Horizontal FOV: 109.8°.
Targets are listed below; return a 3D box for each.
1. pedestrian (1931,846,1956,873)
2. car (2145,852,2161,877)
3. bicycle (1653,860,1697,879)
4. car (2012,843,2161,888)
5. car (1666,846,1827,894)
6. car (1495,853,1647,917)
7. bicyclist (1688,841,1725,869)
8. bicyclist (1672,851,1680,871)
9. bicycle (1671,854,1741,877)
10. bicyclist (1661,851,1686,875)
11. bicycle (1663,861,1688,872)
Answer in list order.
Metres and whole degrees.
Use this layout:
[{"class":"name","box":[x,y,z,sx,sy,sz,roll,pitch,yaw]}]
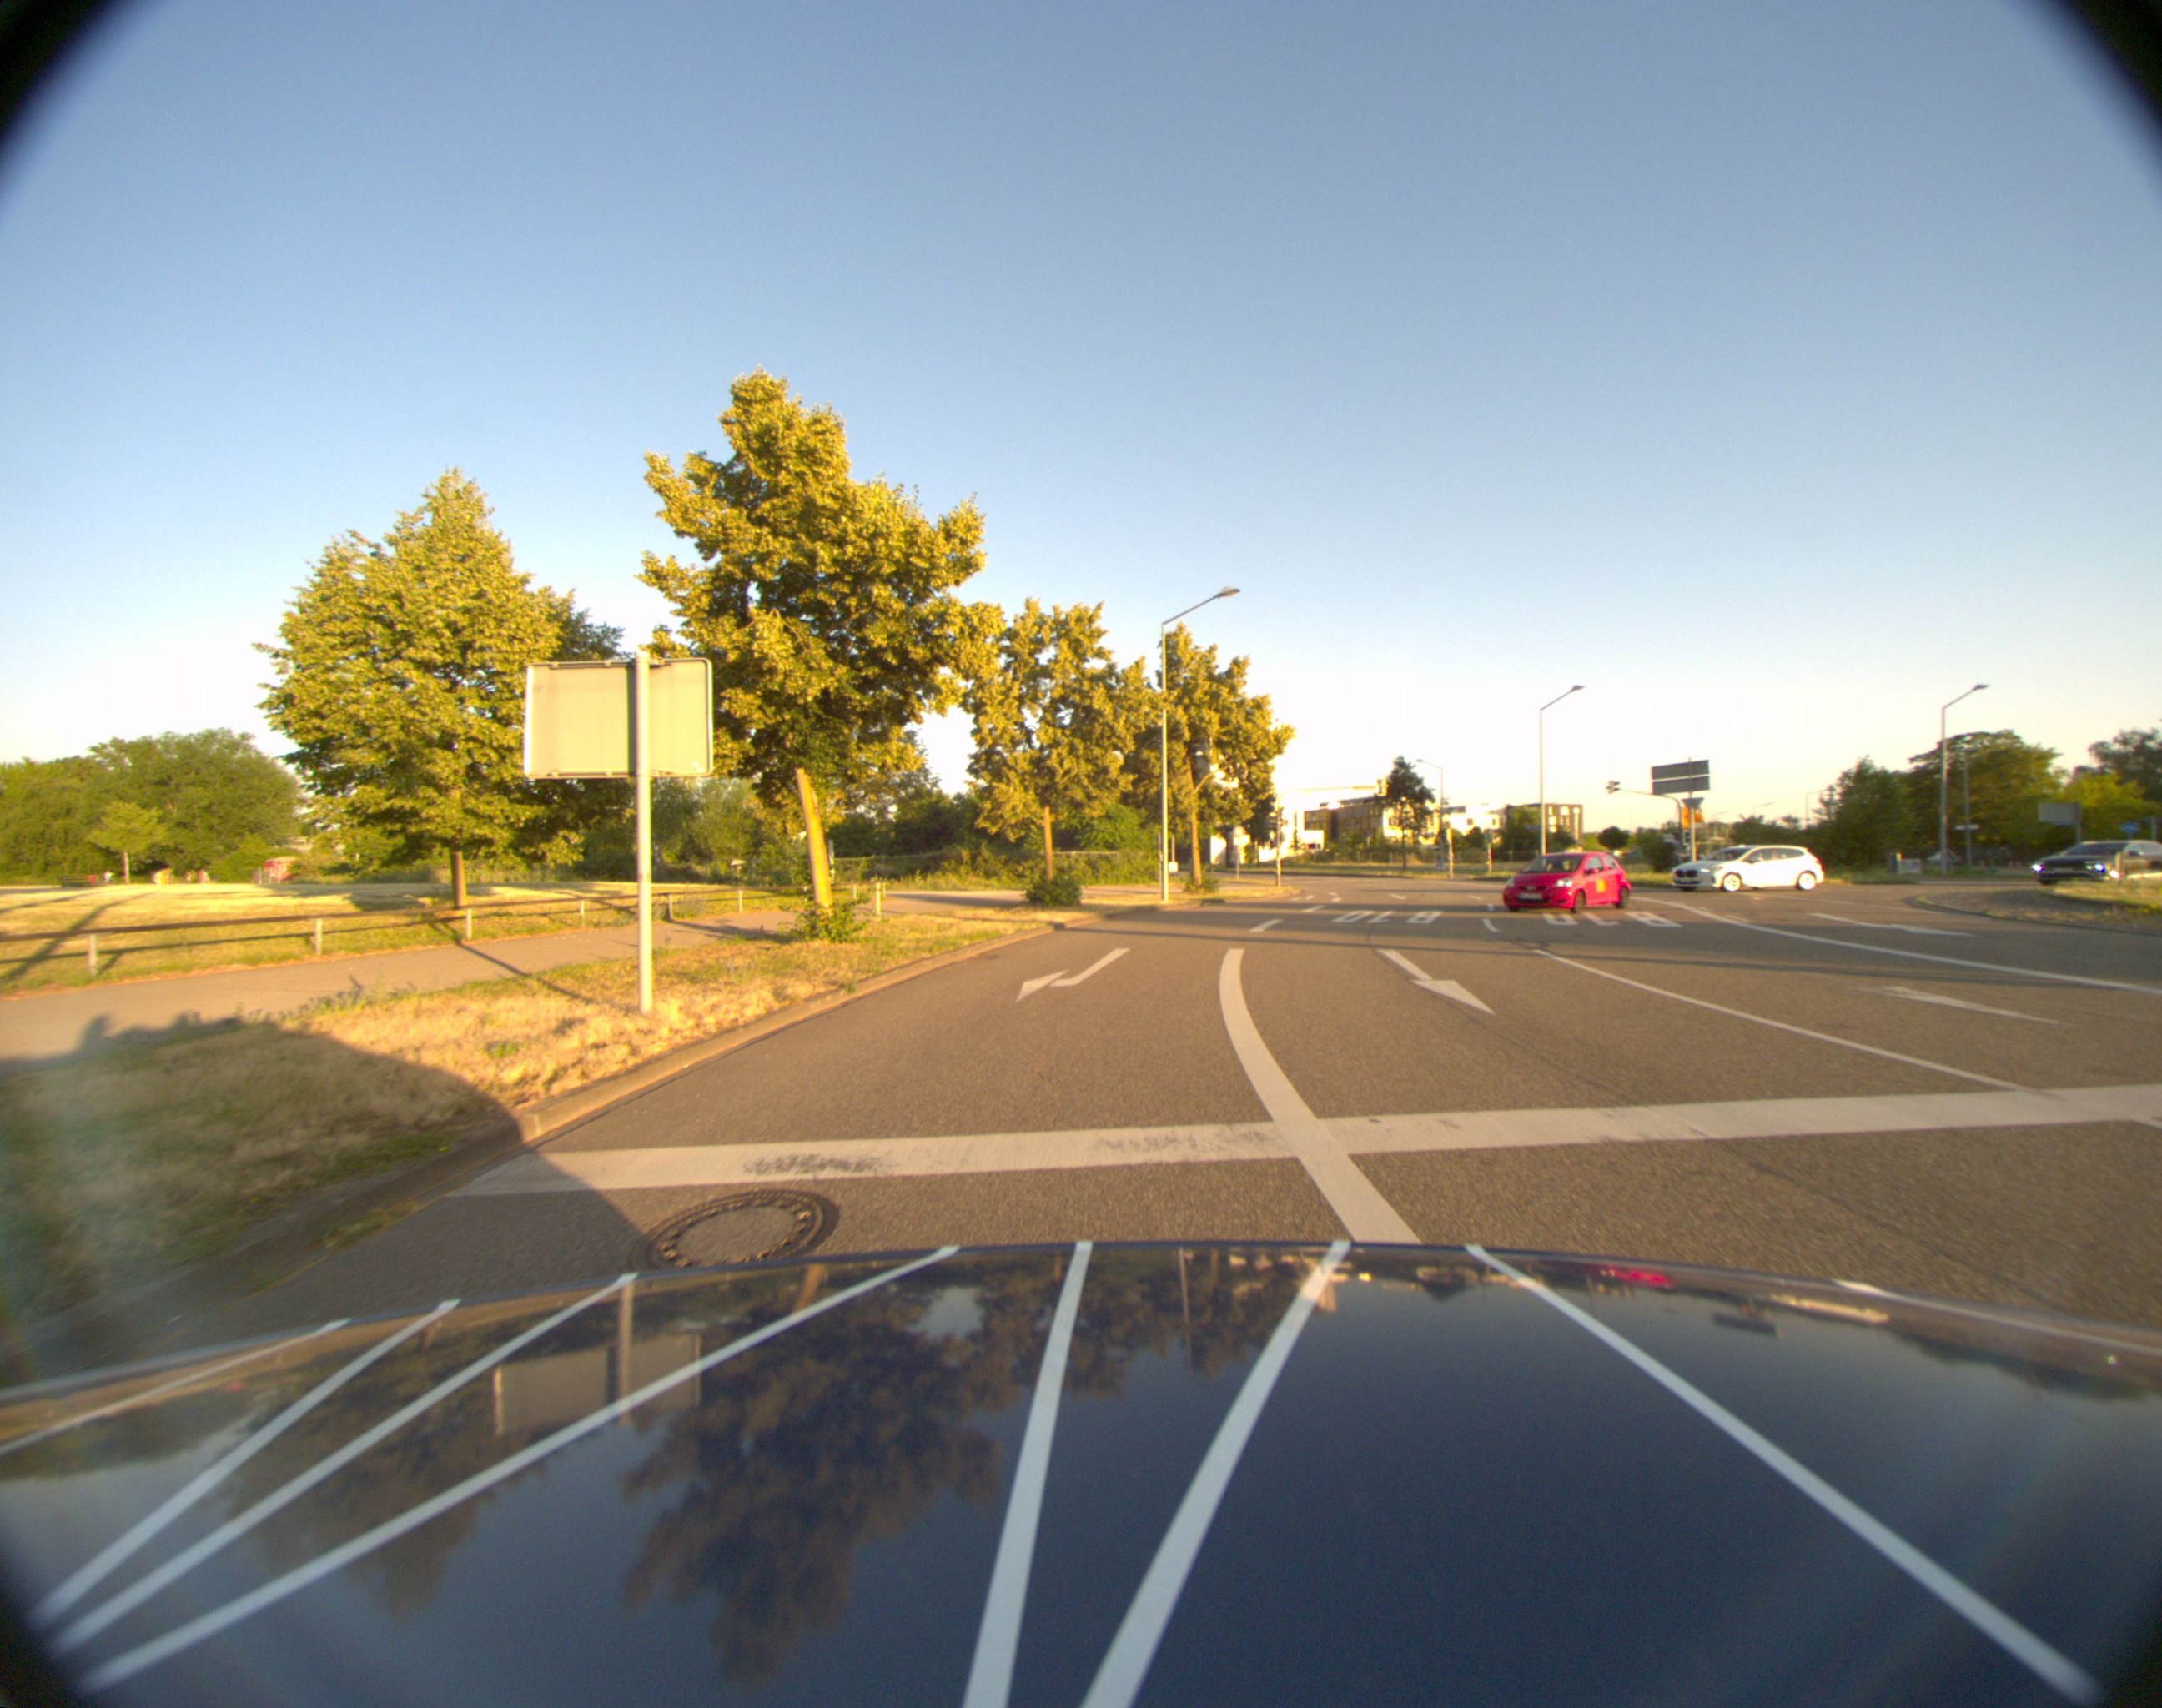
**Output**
[{"class":"pedestrian","box":[53.499,0.353,47.139,0.888,1.691,0.722,-1,0,36]},{"class":"car","box":[65.563,0.633,44.992,1.837,1.492,4.264,-1,0,38]},{"class":"bicycle","box":[39.531,1.024,50.559,2.328,1.172,0.810,-1,0,-3]},{"class":"car","box":[37.259,0.410,27.860,4.213,1.549,1.828,-1,0,-3]},{"class":"car","box":[22.861,0.541,26.171,4.214,1.549,1.759,-1,0,-6]},{"class":"car","box":[12.181,0.705,18.812,4.219,1.413,1.690,0,-1,-35]},{"class":"bicyclist","box":[40.054,0.063,48.653,1.416,1.739,1.124,-1,0,1]},{"class":"bicyclist","box":[42.421,0.484,54.187,0.447,1.389,0.475,0,0,40]},{"class":"bicycle","box":[40.003,0.738,48.656,3.536,1.387,1.124,-1,0,1]},{"class":"bicyclist","box":[39.418,0.598,50.536,1.000,1.623,0.810,-1,0,-3]},{"class":"bicycle","box":[42.426,0.882,54.201,1.414,0.786,0.475,-1,0,39]}]
